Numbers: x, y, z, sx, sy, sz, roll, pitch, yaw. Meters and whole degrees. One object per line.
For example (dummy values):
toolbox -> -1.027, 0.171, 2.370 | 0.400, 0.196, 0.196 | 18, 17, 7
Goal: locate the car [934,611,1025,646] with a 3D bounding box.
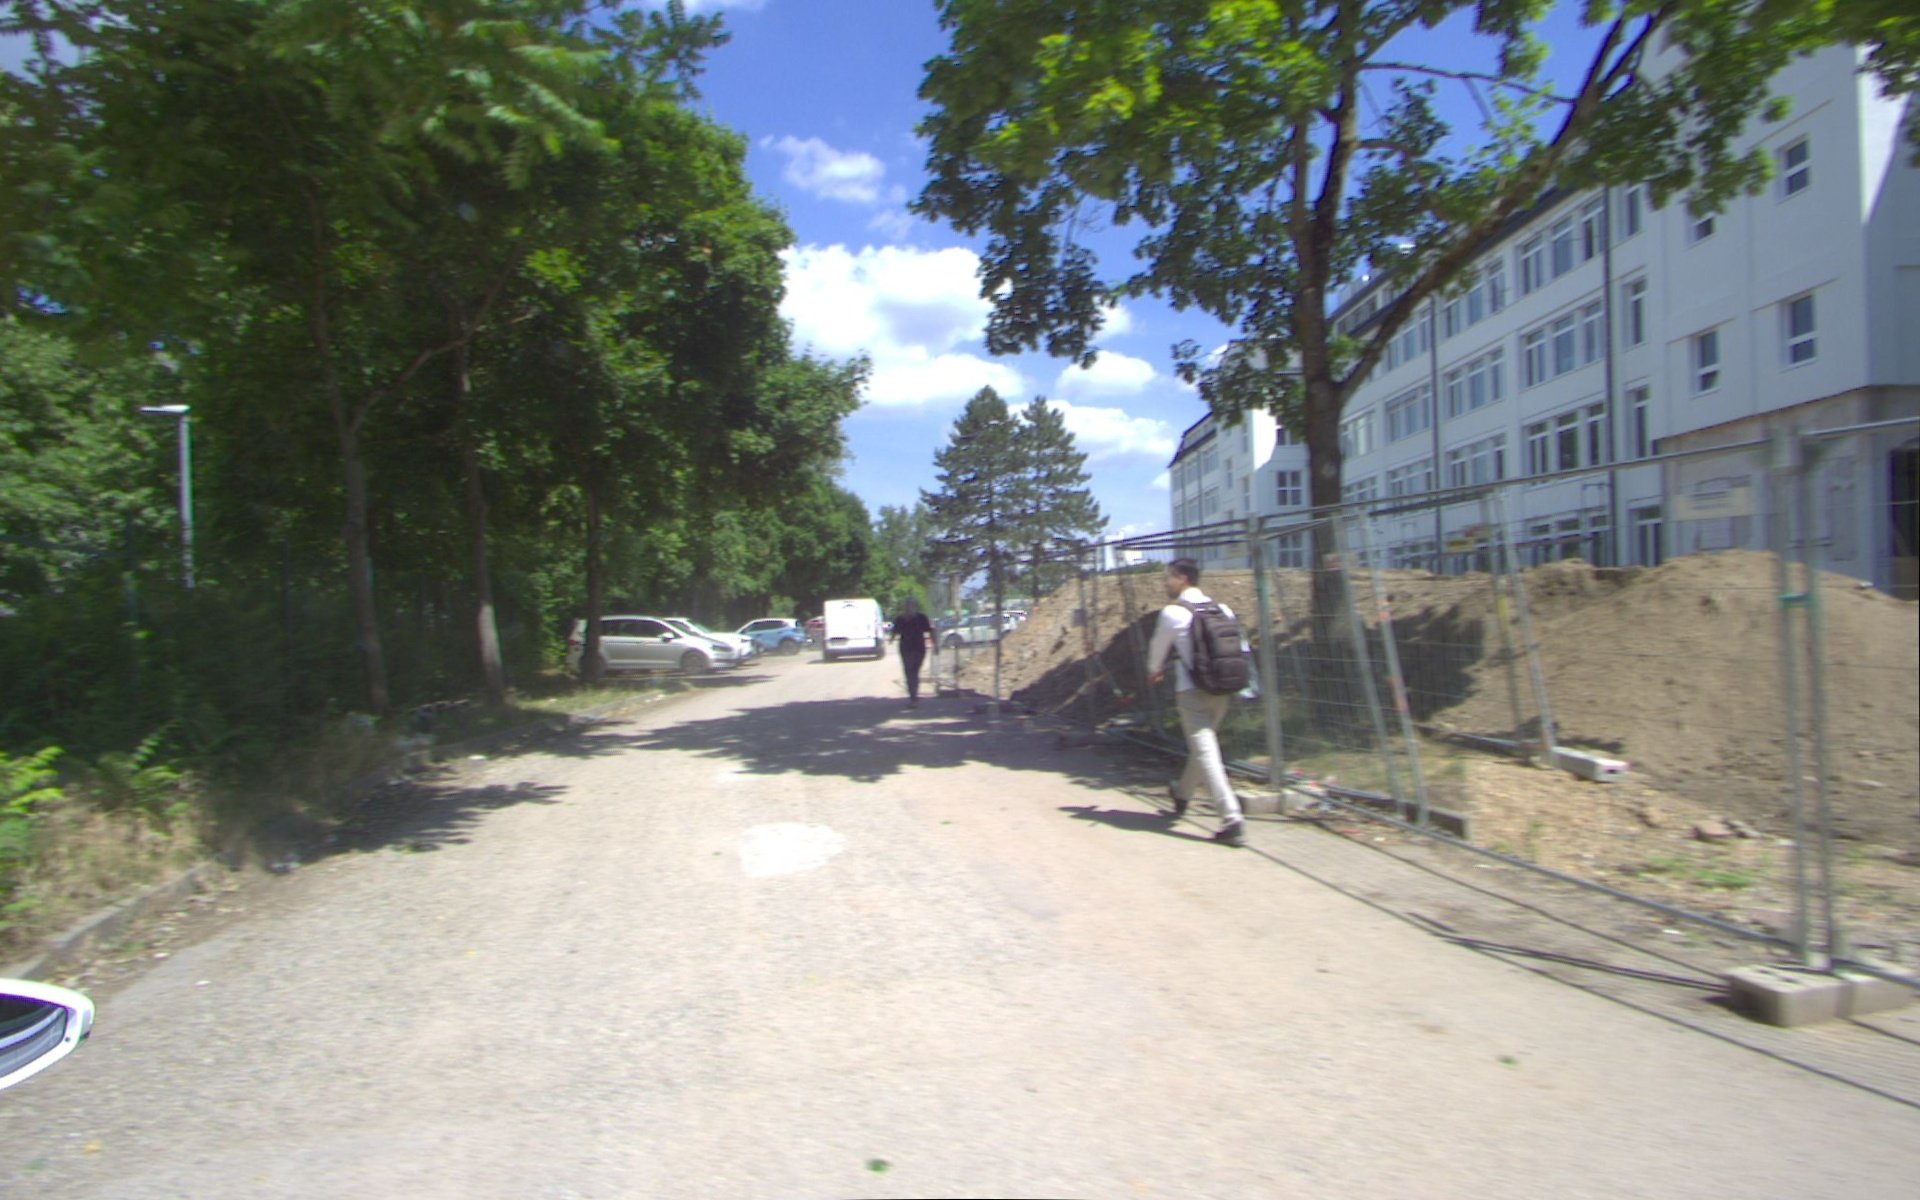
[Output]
car -> 0.841, 1.256, 44.067 | 3.922, 1.438, 2.000 | -1, -1, 0

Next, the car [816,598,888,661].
car -> -3.590, 0.963, 33.969 | 1.941, 1.972, 4.581 | -1, -1, -1

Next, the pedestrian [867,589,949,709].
pedestrian -> -0.780, 0.691, 14.713 | 1.019, 1.672, 1.048 | -1, 1, -13

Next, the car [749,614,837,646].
car -> -8.880, 1.594, 53.619 | 4.432, 1.619, 1.725 | -1, 0, -2

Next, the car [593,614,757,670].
car -> -8.503, 1.231, 30.126 | 4.432, 1.551, 1.726 | -1, -1, -2

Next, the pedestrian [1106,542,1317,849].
pedestrian -> 1.555, 0.544, 6.349 | 0.861, 1.752, 1.078 | -1, 1, -16

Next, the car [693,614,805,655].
car -> -8.939, 1.453, 42.718 | 4.432, 1.619, 1.725 | -1, 0, -2

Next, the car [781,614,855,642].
car -> -8.991, 1.753, 63.598 | 4.432, 1.619, 1.725 | -1, 0, -2

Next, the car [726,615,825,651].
car -> -8.890, 1.581, 48.515 | 4.432, 1.618, 1.937 | -1, -1, -1

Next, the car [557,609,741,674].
car -> -8.477, 1.159, 27.592 | 4.432, 1.629, 2.002 | -1, -3, -1

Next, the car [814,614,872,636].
car -> -9.187, 1.940, 78.938 | 4.432, 1.619, 1.725 | -1, 0, -2

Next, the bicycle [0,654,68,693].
bicycle -> -28.339, 2.225, 30.549 | 0.590, 1.098, 1.940 | -1, -1, -3

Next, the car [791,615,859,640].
car -> -9.218, 1.863, 68.767 | 4.432, 1.568, 1.725 | -1, 0, -2
